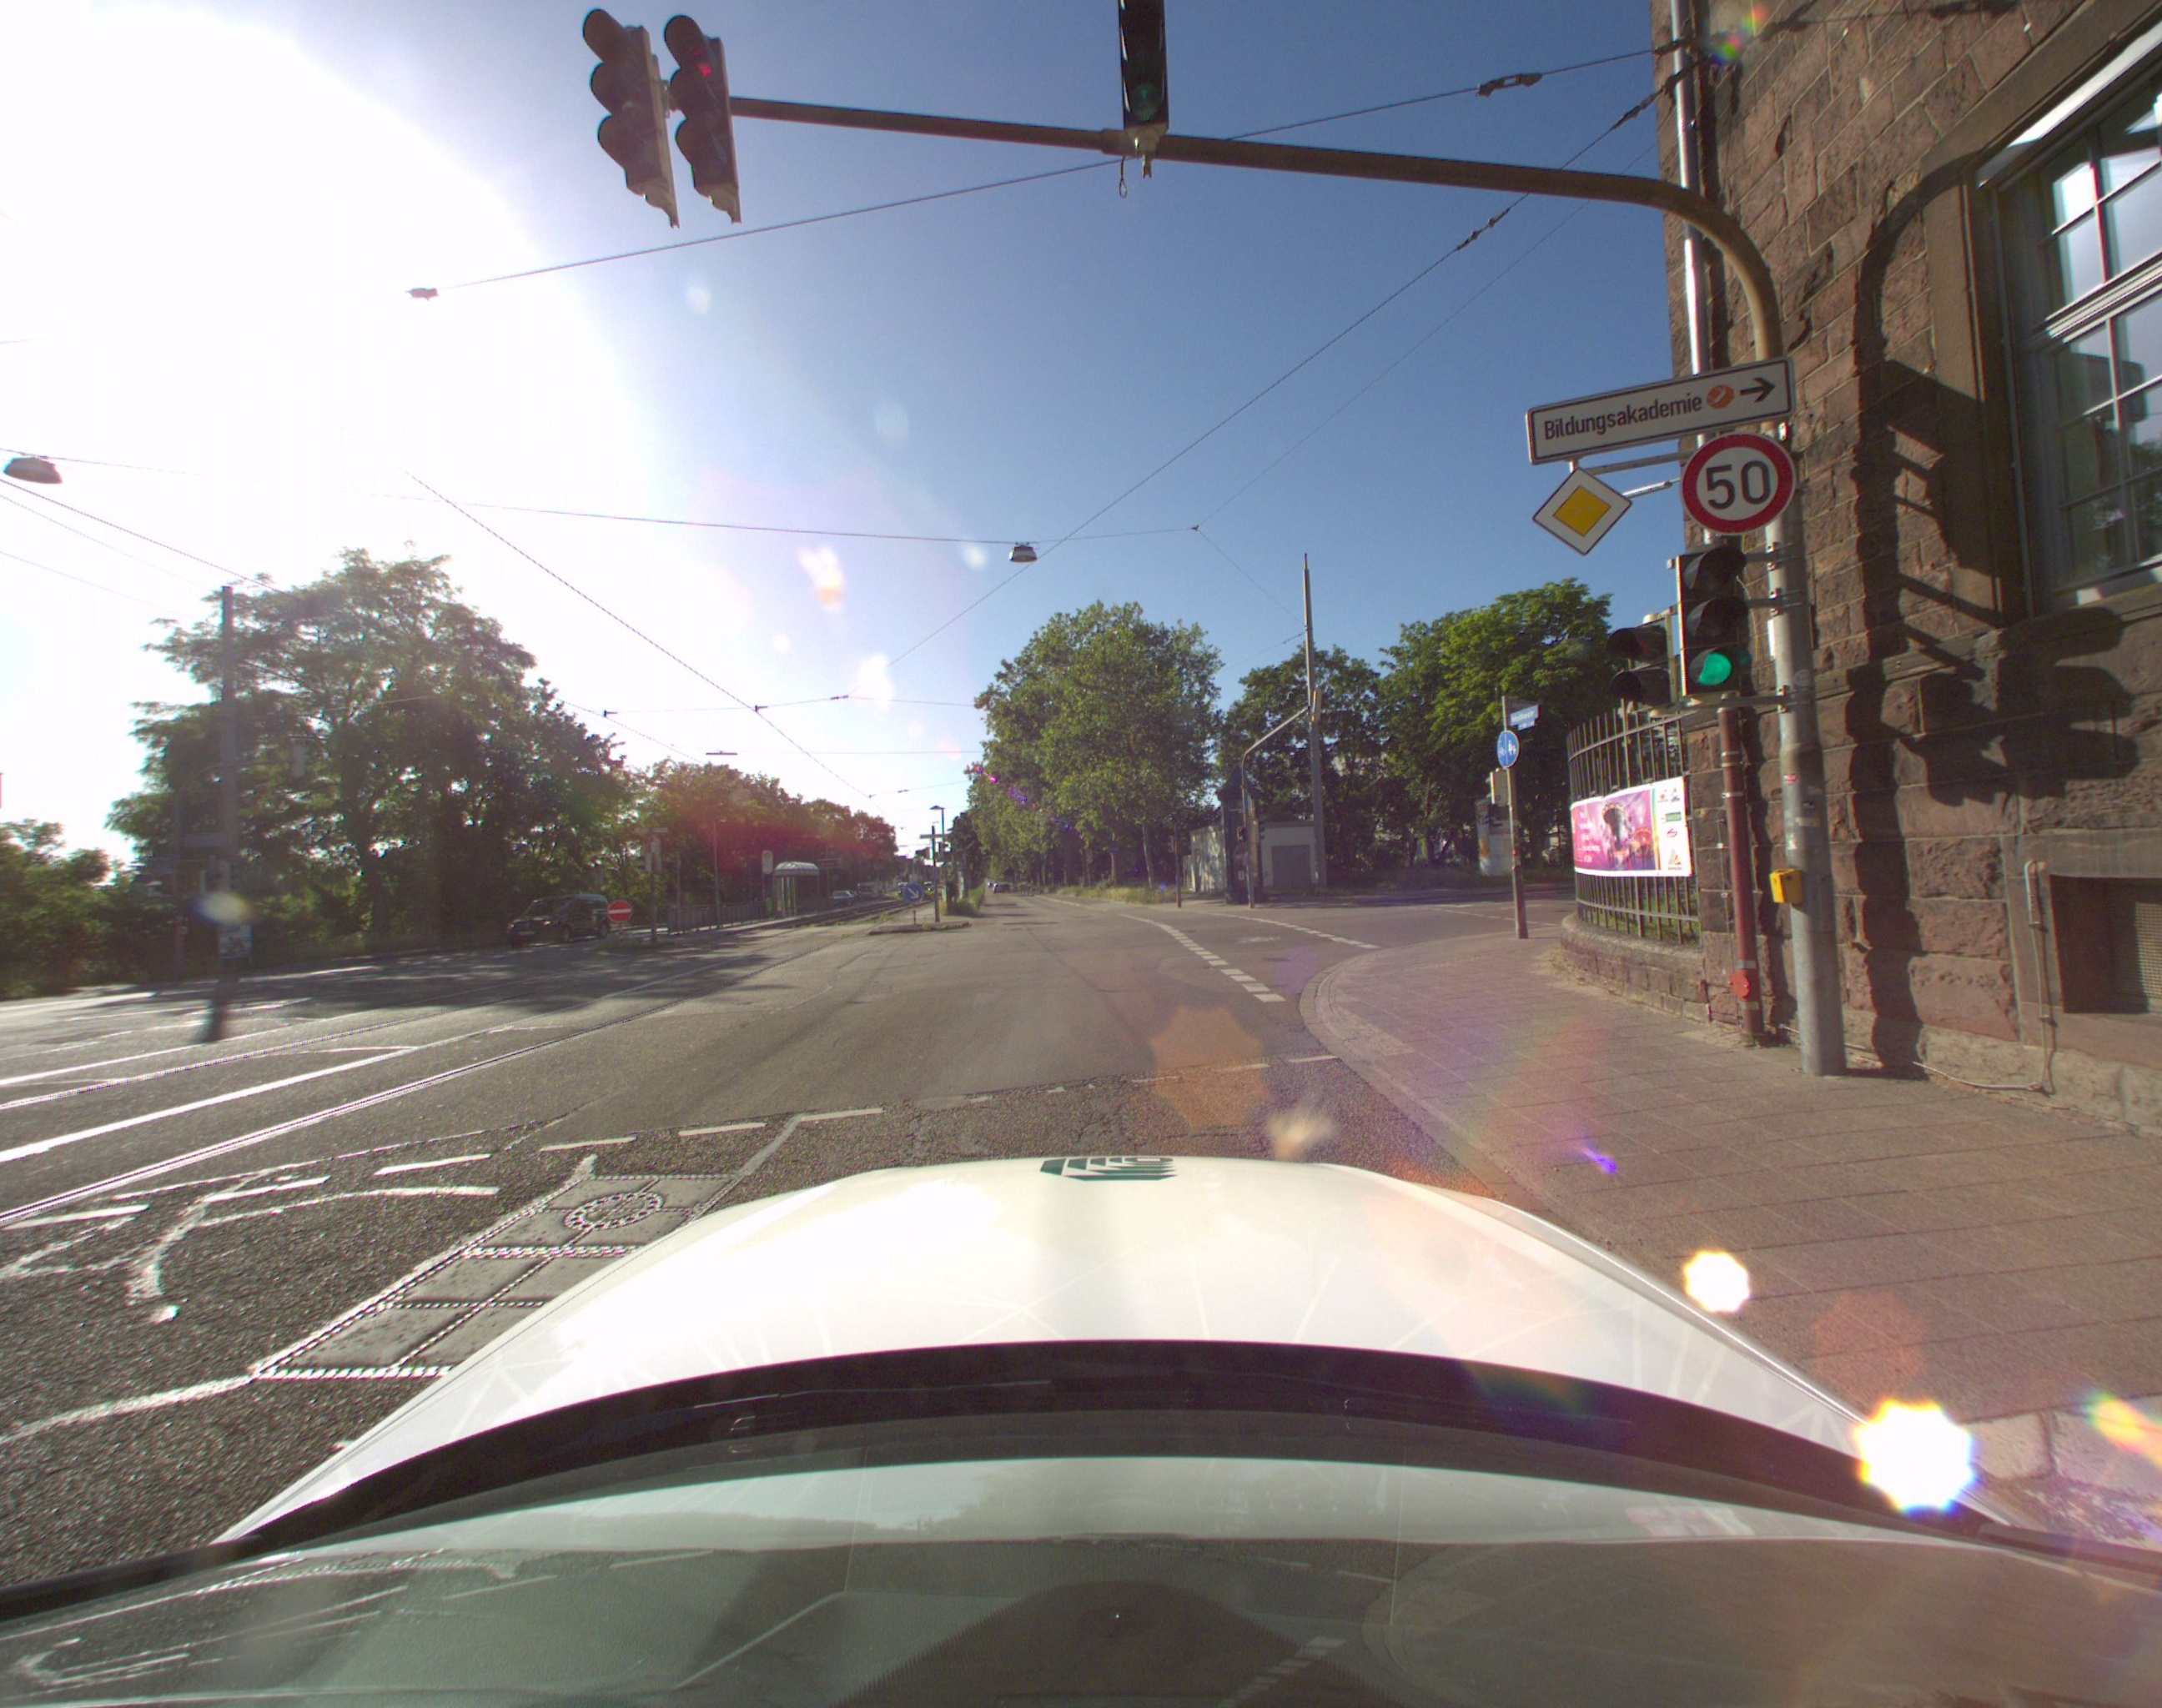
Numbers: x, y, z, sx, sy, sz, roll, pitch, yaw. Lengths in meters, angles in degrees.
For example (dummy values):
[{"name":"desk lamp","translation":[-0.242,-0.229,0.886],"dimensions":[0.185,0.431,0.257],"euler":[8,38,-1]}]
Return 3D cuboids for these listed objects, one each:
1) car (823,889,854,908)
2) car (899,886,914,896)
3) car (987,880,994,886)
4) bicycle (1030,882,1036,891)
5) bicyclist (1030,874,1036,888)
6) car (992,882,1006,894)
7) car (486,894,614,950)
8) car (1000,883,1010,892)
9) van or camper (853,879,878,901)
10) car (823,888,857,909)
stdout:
[{"name":"car","translation":[-21.917,3.993,73.751],"dimensions":[1.918,1.567,3.992],"euler":[-3,-2,-5]},{"name":"car","translation":[-28.689,6.082,133.868],"dimensions":[1.992,1.469,4.363],"euler":[-3,-2,-8]},{"name":"car","translation":[-26.513,8.601,238.682],"dimensions":[1.749,1.604,3.570],"euler":[-3,-2,-8]},{"name":"bicycle","translation":[-5.857,3.994,100.090],"dimensions":[0.536,1.066,1.429],"euler":[-3,-2,-9]},{"name":"bicyclist","translation":[-5.901,3.328,100.111],"dimensions":[0.534,1.770,0.711],"euler":[-3,-2,-9]},{"name":"car","translation":[-11.706,4.854,116.204],"dimensions":[1.865,1.486,3.546],"euler":[-2,-2,-7]},{"name":"car","translation":[-19.620,2.456,30.423],"dimensions":[1.992,1.767,5.017],"euler":[-3,-3,-8]},{"name":"car","translation":[-13.505,5.945,144.850],"dimensions":[1.748,1.604,3.741],"euler":[-2,-2,-7]},{"name":"van or camper","translation":[-31.974,5.301,121.095],"dimensions":[2.587,3.106,6.771],"euler":[-3,-2,-7]},{"name":"car","translation":[-18.709,3.450,63.383],"dimensions":[1.804,1.467,3.989],"euler":[-3,-2,-7]}]
